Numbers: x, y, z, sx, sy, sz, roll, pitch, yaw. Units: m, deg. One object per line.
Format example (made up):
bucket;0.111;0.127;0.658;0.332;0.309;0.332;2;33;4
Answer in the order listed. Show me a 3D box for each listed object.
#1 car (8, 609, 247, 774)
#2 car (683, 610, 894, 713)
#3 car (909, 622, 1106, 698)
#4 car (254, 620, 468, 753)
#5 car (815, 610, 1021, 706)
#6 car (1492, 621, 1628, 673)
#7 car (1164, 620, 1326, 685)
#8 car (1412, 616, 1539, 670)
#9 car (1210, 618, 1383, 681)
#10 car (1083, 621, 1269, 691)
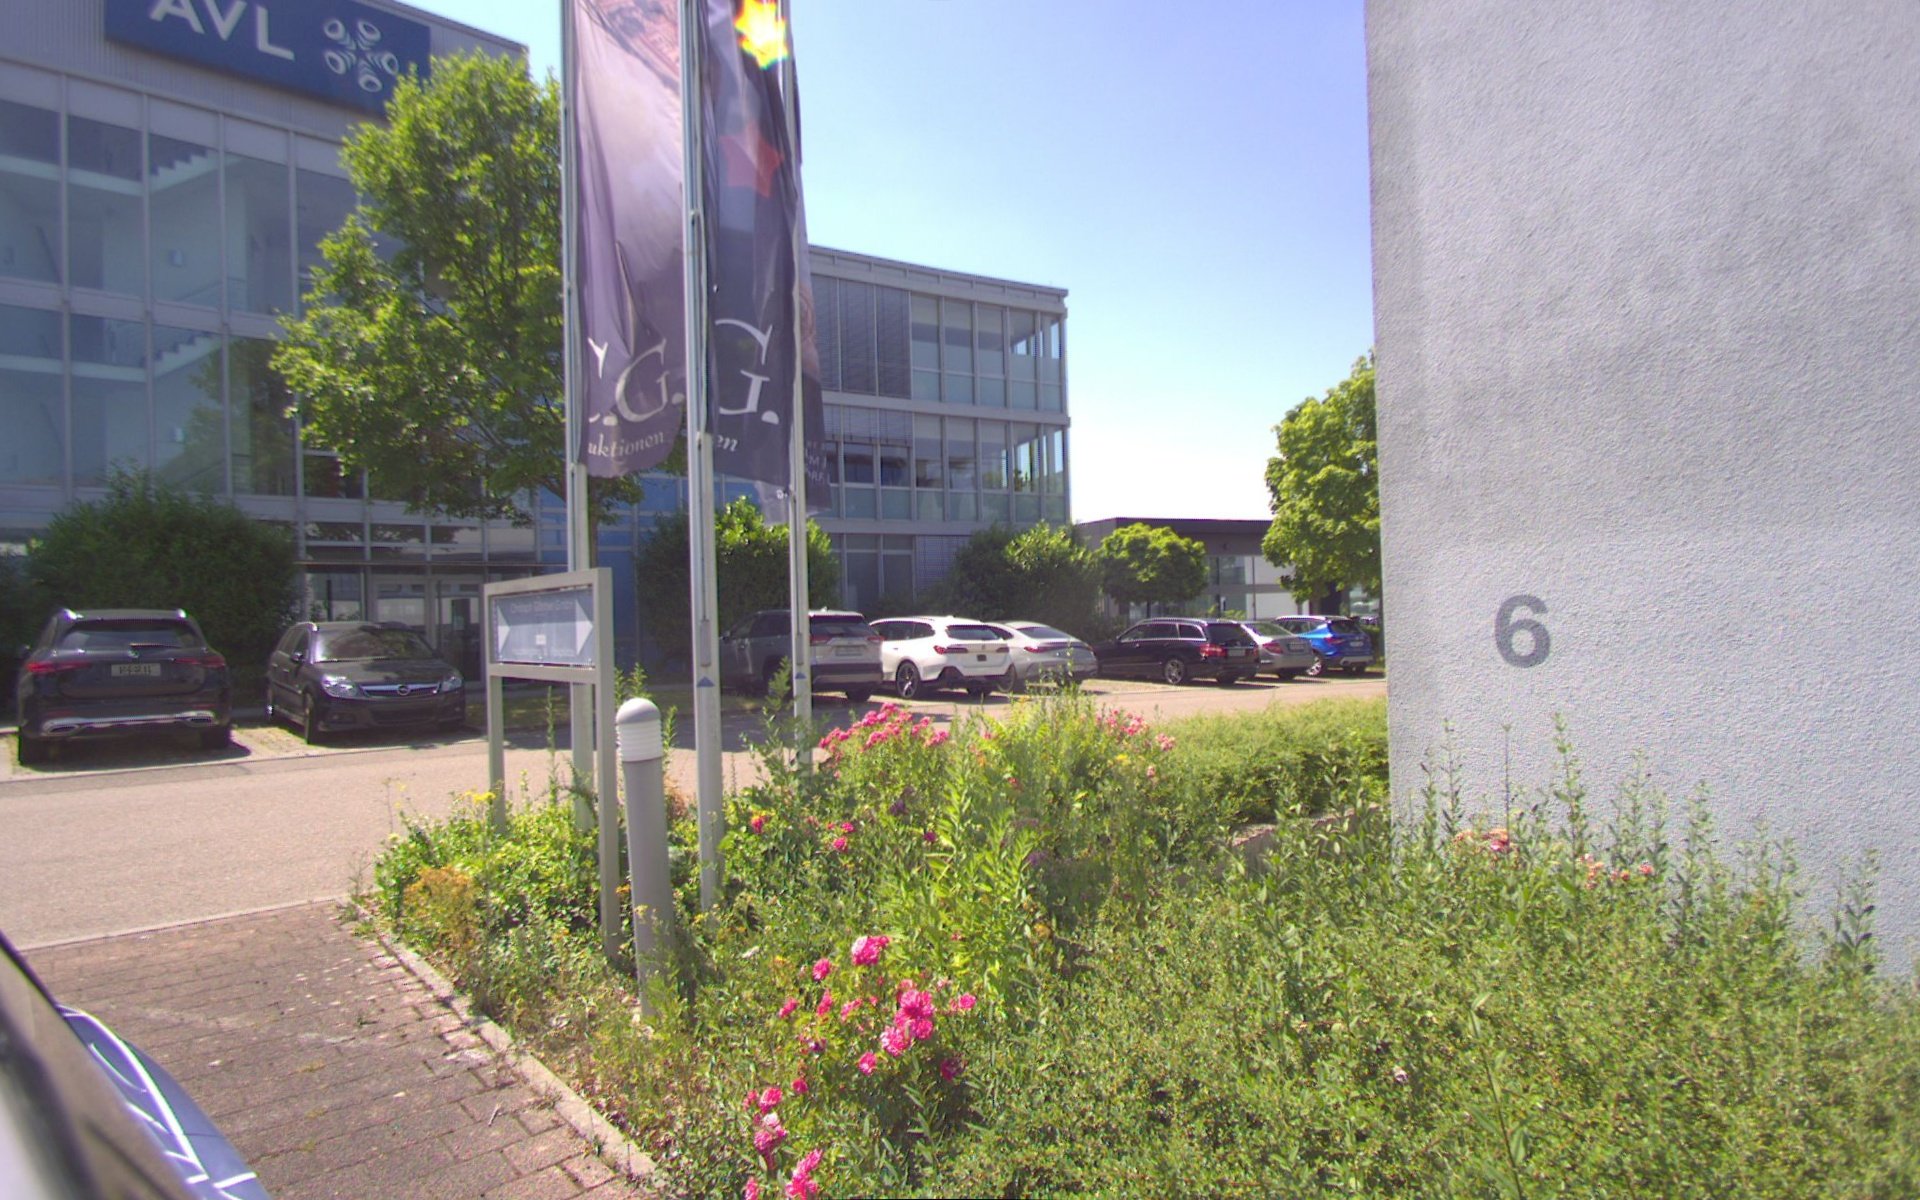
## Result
car;-9.987;0.939;12.035;1.911;1.615;3.863;1;-2;-43
car;-3.196;1.029;18.273;1.805;1.650;4.176;1;-2;-42
car;0.891;1.183;21.133;1.725;1.411;4.178;1;-2;-40
car;-8.279;1.047;13.801;1.704;1.495;4.402;0;-1;-42
car;-0.917;1.046;19.633;1.805;1.650;4.178;1;-2;-40
car;17.488;1.328;29.628;1.522;1.435;3.099;0;-1;-23
car;6.970;1.238;25.215;1.722;1.435;4.185;0;-1;-21
car;14.956;1.220;29.503;1.522;1.435;3.009;0;0;-23
car;8.748;1.235;26.661;1.723;1.435;4.183;0;0;-32
car;4.891;1.225;23.462;1.723;1.435;4.182;1;-1;-34
